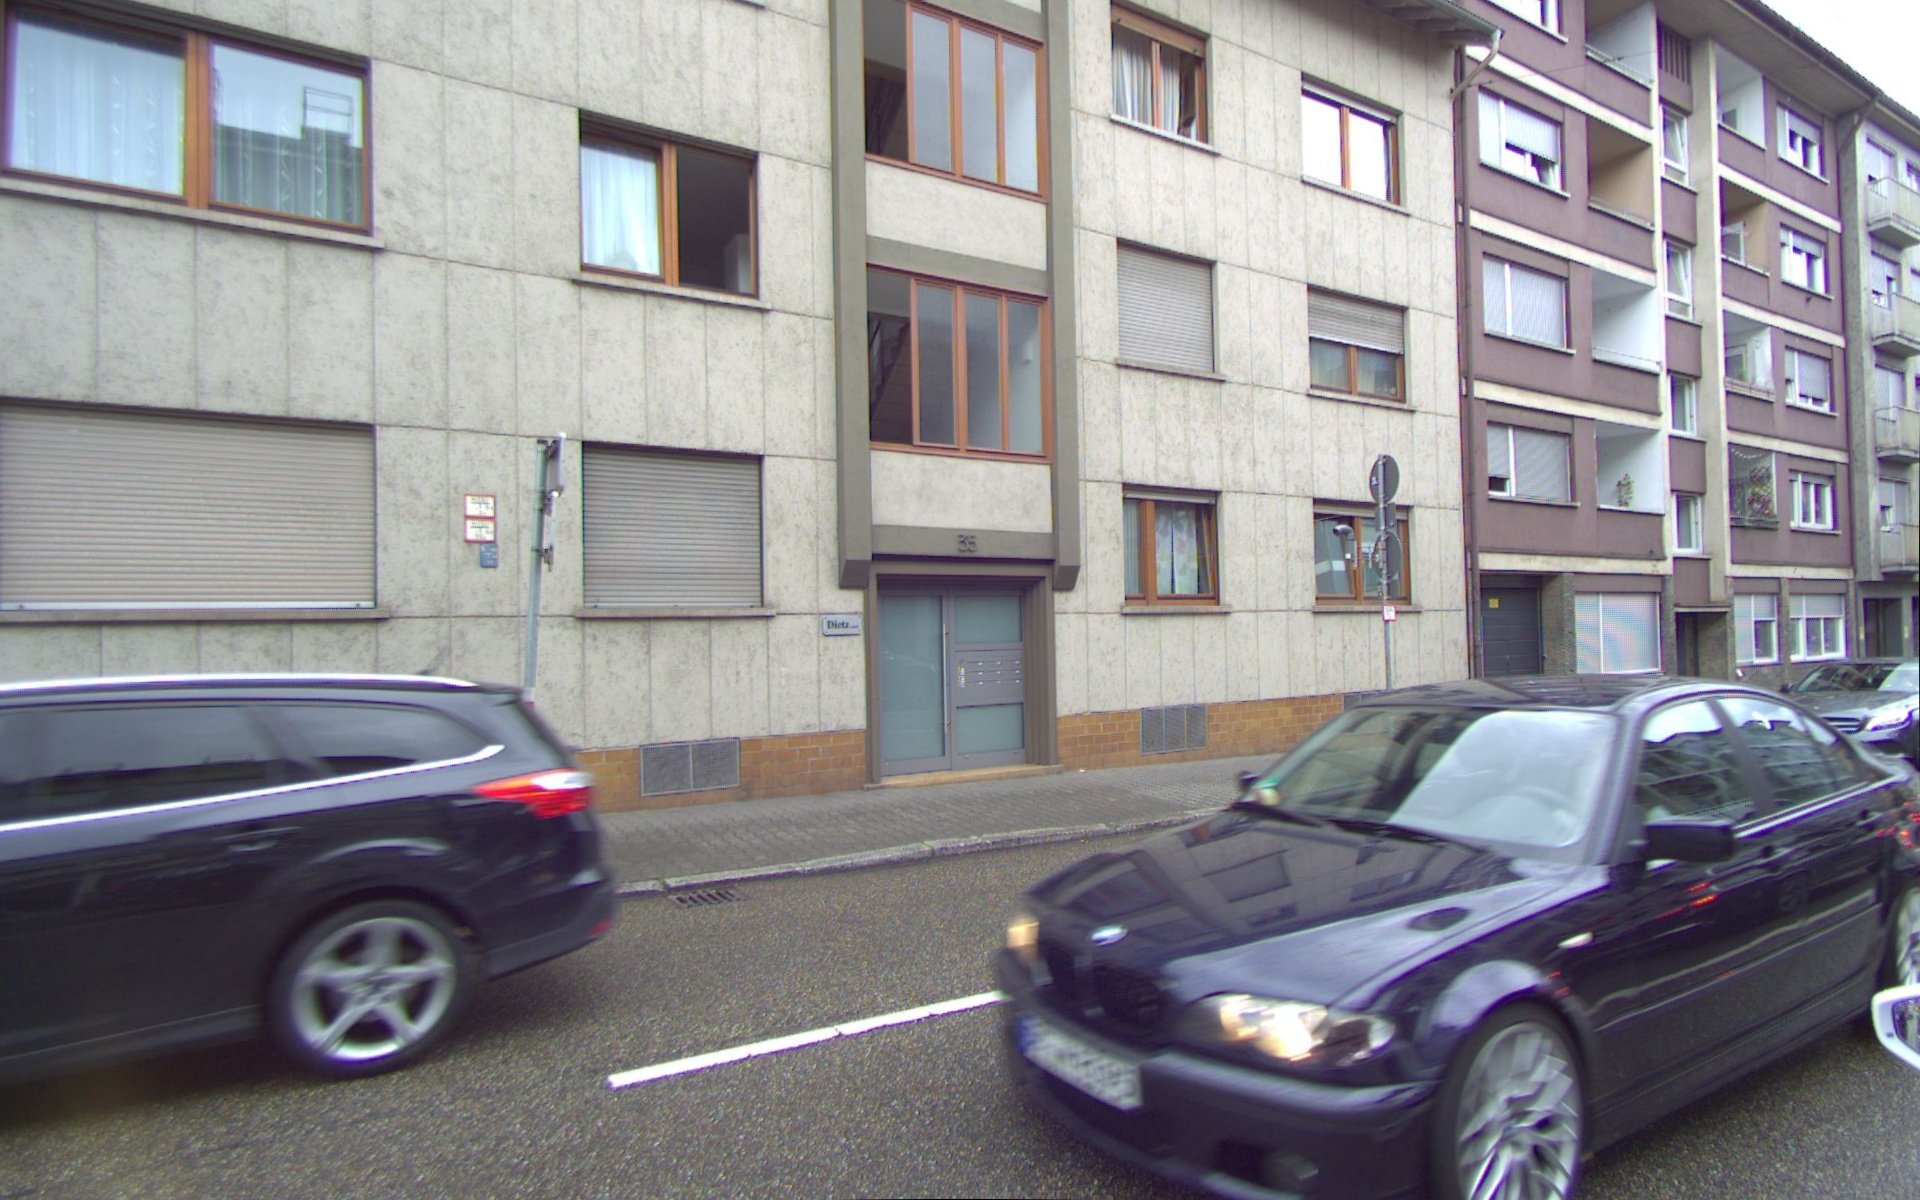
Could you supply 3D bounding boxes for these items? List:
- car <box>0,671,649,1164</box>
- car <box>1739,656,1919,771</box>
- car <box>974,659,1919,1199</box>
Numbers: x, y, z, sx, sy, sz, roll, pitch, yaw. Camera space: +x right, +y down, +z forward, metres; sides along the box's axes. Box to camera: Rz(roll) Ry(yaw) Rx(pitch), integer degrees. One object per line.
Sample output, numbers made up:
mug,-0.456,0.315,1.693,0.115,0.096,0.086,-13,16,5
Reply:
car,-3.587,1.072,3.825,4.325,1.492,1.714,1,-4,-32
car,12.836,1.500,13.994,4.318,1.388,1.686,2,-5,-32
car,2.264,0.951,3.952,4.168,1.388,1.688,2,-5,-30
